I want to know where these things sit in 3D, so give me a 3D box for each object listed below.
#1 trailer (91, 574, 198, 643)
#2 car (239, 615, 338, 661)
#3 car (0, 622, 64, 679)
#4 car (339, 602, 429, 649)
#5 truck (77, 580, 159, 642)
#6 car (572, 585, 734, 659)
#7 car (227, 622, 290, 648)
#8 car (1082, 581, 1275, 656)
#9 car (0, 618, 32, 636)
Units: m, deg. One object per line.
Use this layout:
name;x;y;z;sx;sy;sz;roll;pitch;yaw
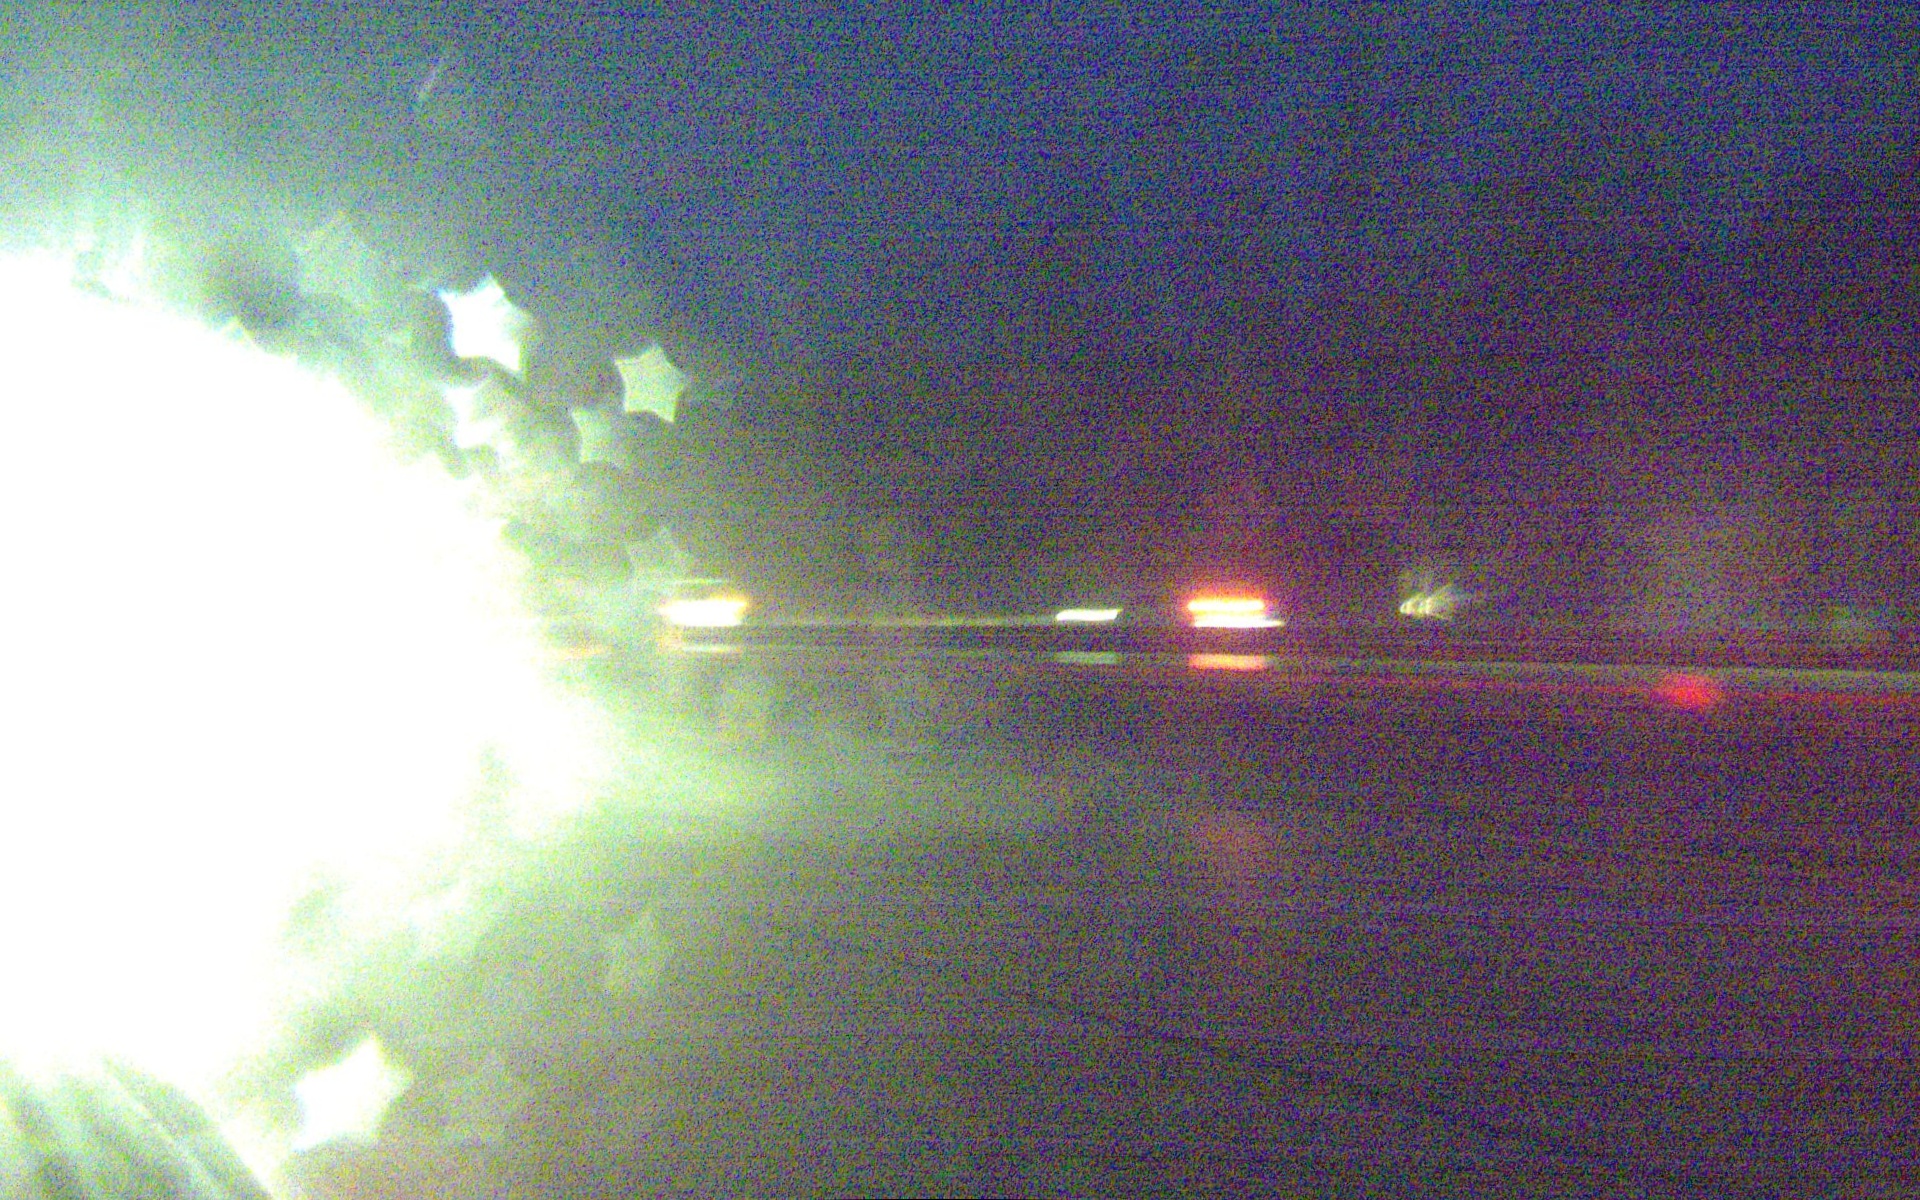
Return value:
trailer;-54.095;0.613;66.956;11.711;4.205;3.321;-2;0;40
car;-25.309;1.384;38.097;4.301;1.520;1.864;0;1;38
car;-27.937;1.464;29.907;3.846;1.587;1.633;-2;-1;40
car;-25.518;1.082;44.774;4.840;1.924;1.872;0;1;40
truck;-59.626;0.785;71.621;6.458;4.205;3.331;-2;0;40
car;-8.846;0.566;28.926;5.132;1.924;1.967;0;1;40
car;-40.302;2.012;58.117;4.162;1.405;1.821;-2;0;38
car;4.773;0.362;22.383;3.800;1.506;1.746;0;1;40
car;-86.740;2.456;92.937;3.714;1.507;1.689;0;1;39
